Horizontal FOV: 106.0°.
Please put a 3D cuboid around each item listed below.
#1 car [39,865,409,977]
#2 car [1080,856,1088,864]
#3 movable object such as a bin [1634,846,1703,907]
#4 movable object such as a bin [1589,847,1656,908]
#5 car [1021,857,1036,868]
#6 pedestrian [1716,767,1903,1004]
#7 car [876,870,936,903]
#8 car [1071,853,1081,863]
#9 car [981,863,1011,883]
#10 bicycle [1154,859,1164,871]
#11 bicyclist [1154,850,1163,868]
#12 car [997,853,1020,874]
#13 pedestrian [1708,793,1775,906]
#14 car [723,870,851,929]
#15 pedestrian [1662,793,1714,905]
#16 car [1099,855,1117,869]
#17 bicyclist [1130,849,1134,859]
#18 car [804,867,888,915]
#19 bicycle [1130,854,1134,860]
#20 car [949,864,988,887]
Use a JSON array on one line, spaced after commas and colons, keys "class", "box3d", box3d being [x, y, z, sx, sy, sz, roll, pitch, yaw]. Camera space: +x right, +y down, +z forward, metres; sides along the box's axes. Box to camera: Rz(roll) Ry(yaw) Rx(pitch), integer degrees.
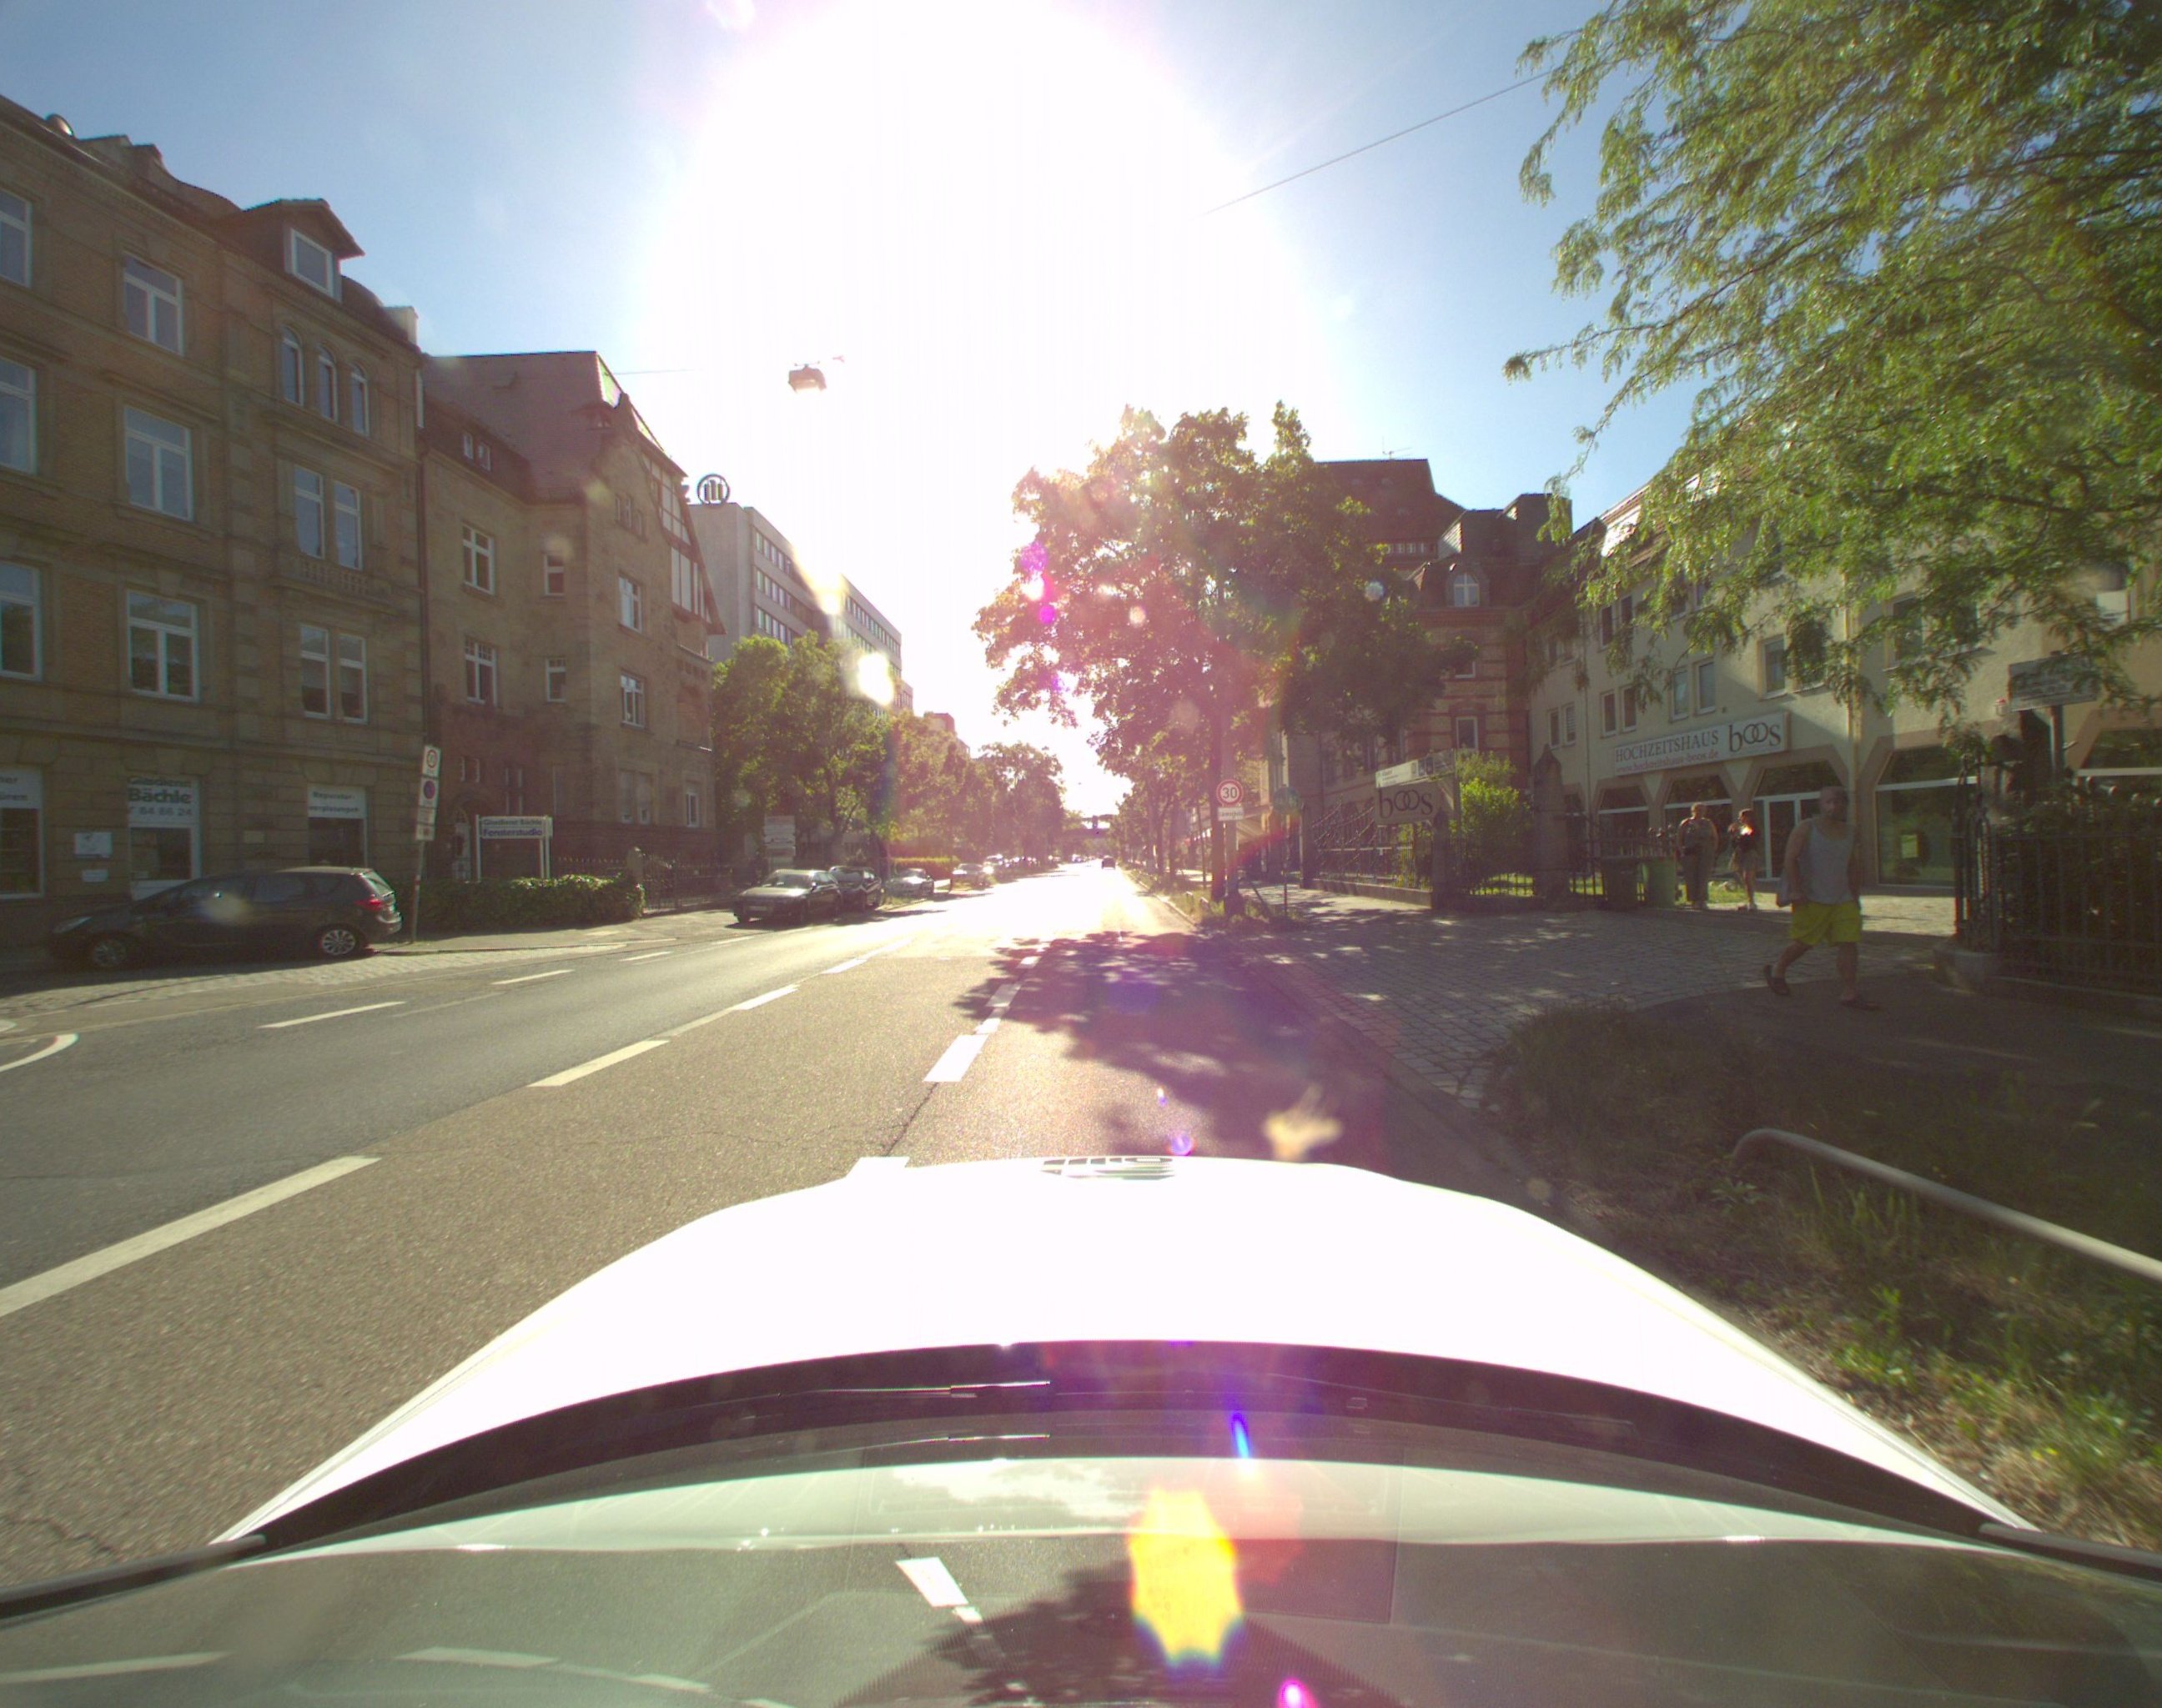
[{"class": "car", "box3d": [-14.888, 1.071, 14.564, 4.158, 1.670, 1.980, 1, 1, -32]}, {"class": "car", "box3d": [0.779, 1.436, 197.008, 1.849, 1.568, 4.716, -4, 0, 1]}, {"class": "movable object such as a bin", "box3d": [9.969, 0.380, 13.843, 0.622, 0.965, 0.667, -4, 0, 1]}, {"class": "movable object such as a bin", "box3d": [9.208, 0.390, 13.865, 0.622, 0.965, 0.667, -4, 0, 1]}, {"class": "car", "box3d": [-7.741, 1.223, 121.022, 1.848, 1.568, 3.873, -1, 0, 2]}, {"class": "pedestrian", "box3d": [5.933, 0.246, 6.698, 0.742, 1.787, 0.814, -5, 0, 15]}, {"class": "car", "box3d": [-7.833, 1.429, 36.698, 1.672, 1.255, 4.017, -1, 0, 2]}, {"class": "car", "box3d": [-0.956, 0.802, 163.138, 1.850, 1.825, 4.610, -4, 0, 0]}, {"class": "car", "box3d": [-6.649, 1.481, 64.404, 1.705, 1.458, 4.075, -1, 0, 3]}, {"class": "bicycle", "box3d": [7.303, 1.017, 76.262, 0.683, 1.027, 2.096, -2, -1, 1]}, {"class": "bicyclist", "box3d": [7.293, 0.484, 76.269, 0.698, 1.599, 0.955, -2, -1, 0]}, {"class": "car", "box3d": [-7.669, 0.993, 86.543, 1.975, 2.076, 5.194, -4, 0, -1]}, {"class": "pedestrian", "box3d": [10.377, -0.066, 12.810, 0.537, 1.709, 0.514, -3, 0, -6]}, {"class": "car", "box3d": [-8.512, 1.253, 24.063, 1.848, 1.427, 4.723, 2, 0, 2]}, {"class": "pedestrian", "box3d": [9.889, -0.081, 13.287, 0.536, 1.778, 0.536, -3, 0, 31]}, {"class": "car", "box3d": [3.313, 0.985, 100.132, 1.978, 1.600, 4.140, -1, 0, 0]}, {"class": "bicyclist", "box3d": [8.939, 0.019, 142.200, 0.665, 1.695, 0.889, -1, -1, 1]}, {"class": "car", "box3d": [-8.301, 1.252, 29.255, 1.852, 1.494, 4.700, 1, 0, -3]}, {"class": "bicycle", "box3d": [8.947, 0.502, 142.260, 0.587, 1.027, 1.860, -2, -1, 1]}, {"class": "car", "box3d": [-7.264, 1.376, 52.923, 1.680, 1.383, 4.196, -1, 0, 4]}]
